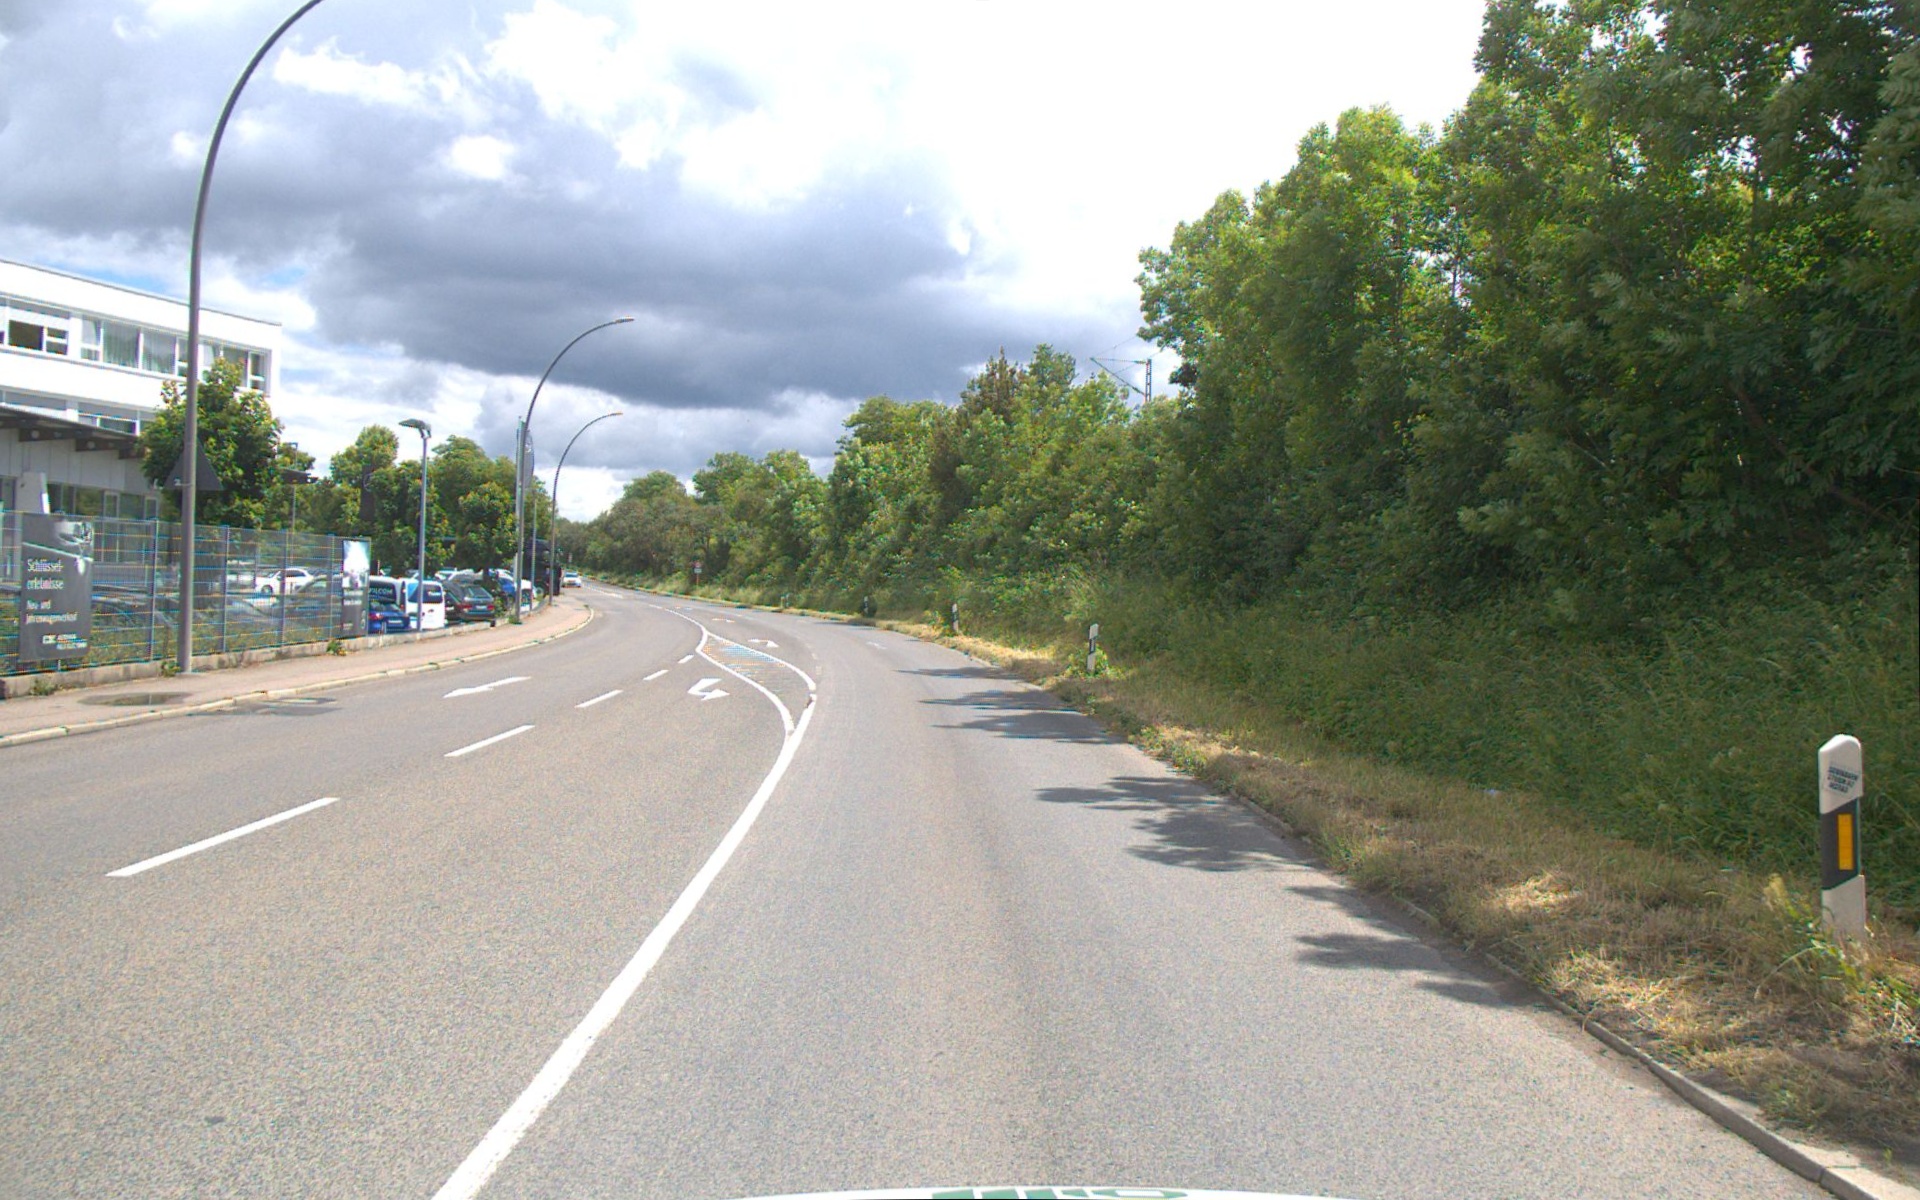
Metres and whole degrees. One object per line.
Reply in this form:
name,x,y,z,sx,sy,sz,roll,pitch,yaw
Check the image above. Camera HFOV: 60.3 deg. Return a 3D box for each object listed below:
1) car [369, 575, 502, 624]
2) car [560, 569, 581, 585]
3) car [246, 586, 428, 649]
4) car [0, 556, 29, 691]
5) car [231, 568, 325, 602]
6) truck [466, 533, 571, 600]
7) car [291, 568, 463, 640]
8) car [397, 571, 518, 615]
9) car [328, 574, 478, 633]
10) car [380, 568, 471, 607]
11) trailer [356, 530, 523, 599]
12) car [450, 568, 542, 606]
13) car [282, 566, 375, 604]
car,-18.006,-0.006,56.794,4.106,1.505,1.795,2,0,23
car,-39.830,-2.371,169.069,1.961,1.564,3.984,2,0,-15
car,-15.846,0.436,42.081,4.106,1.373,1.936,2,0,23
car,-14.366,0.221,20.699,4.107,1.730,2.172,2,0,-3
car,-33.071,-0.715,80.331,1.953,1.480,3.999,2,0,23
truck,-28.133,-2.125,105.482,6.046,4.165,2.801,0,1,-27
car,-15.718,0.108,44.615,3.894,1.730,2.173,2,0,23
car,-18.415,-0.245,60.580,4.106,1.425,1.659,2,0,23
car,-17.423,0.114,51.733,4.106,1.629,1.980,2,0,23
car,-25.375,-0.579,78.684,1.953,1.659,3.999,2,0,23
trailer,-32.384,-2.161,103.129,9.613,4.164,2.799,0,1,-29
car,-24.619,-0.690,87.854,4.280,1.793,1.968,2,0,-44
car,-30.522,-0.703,80.096,1.953,1.673,3.999,2,0,23
